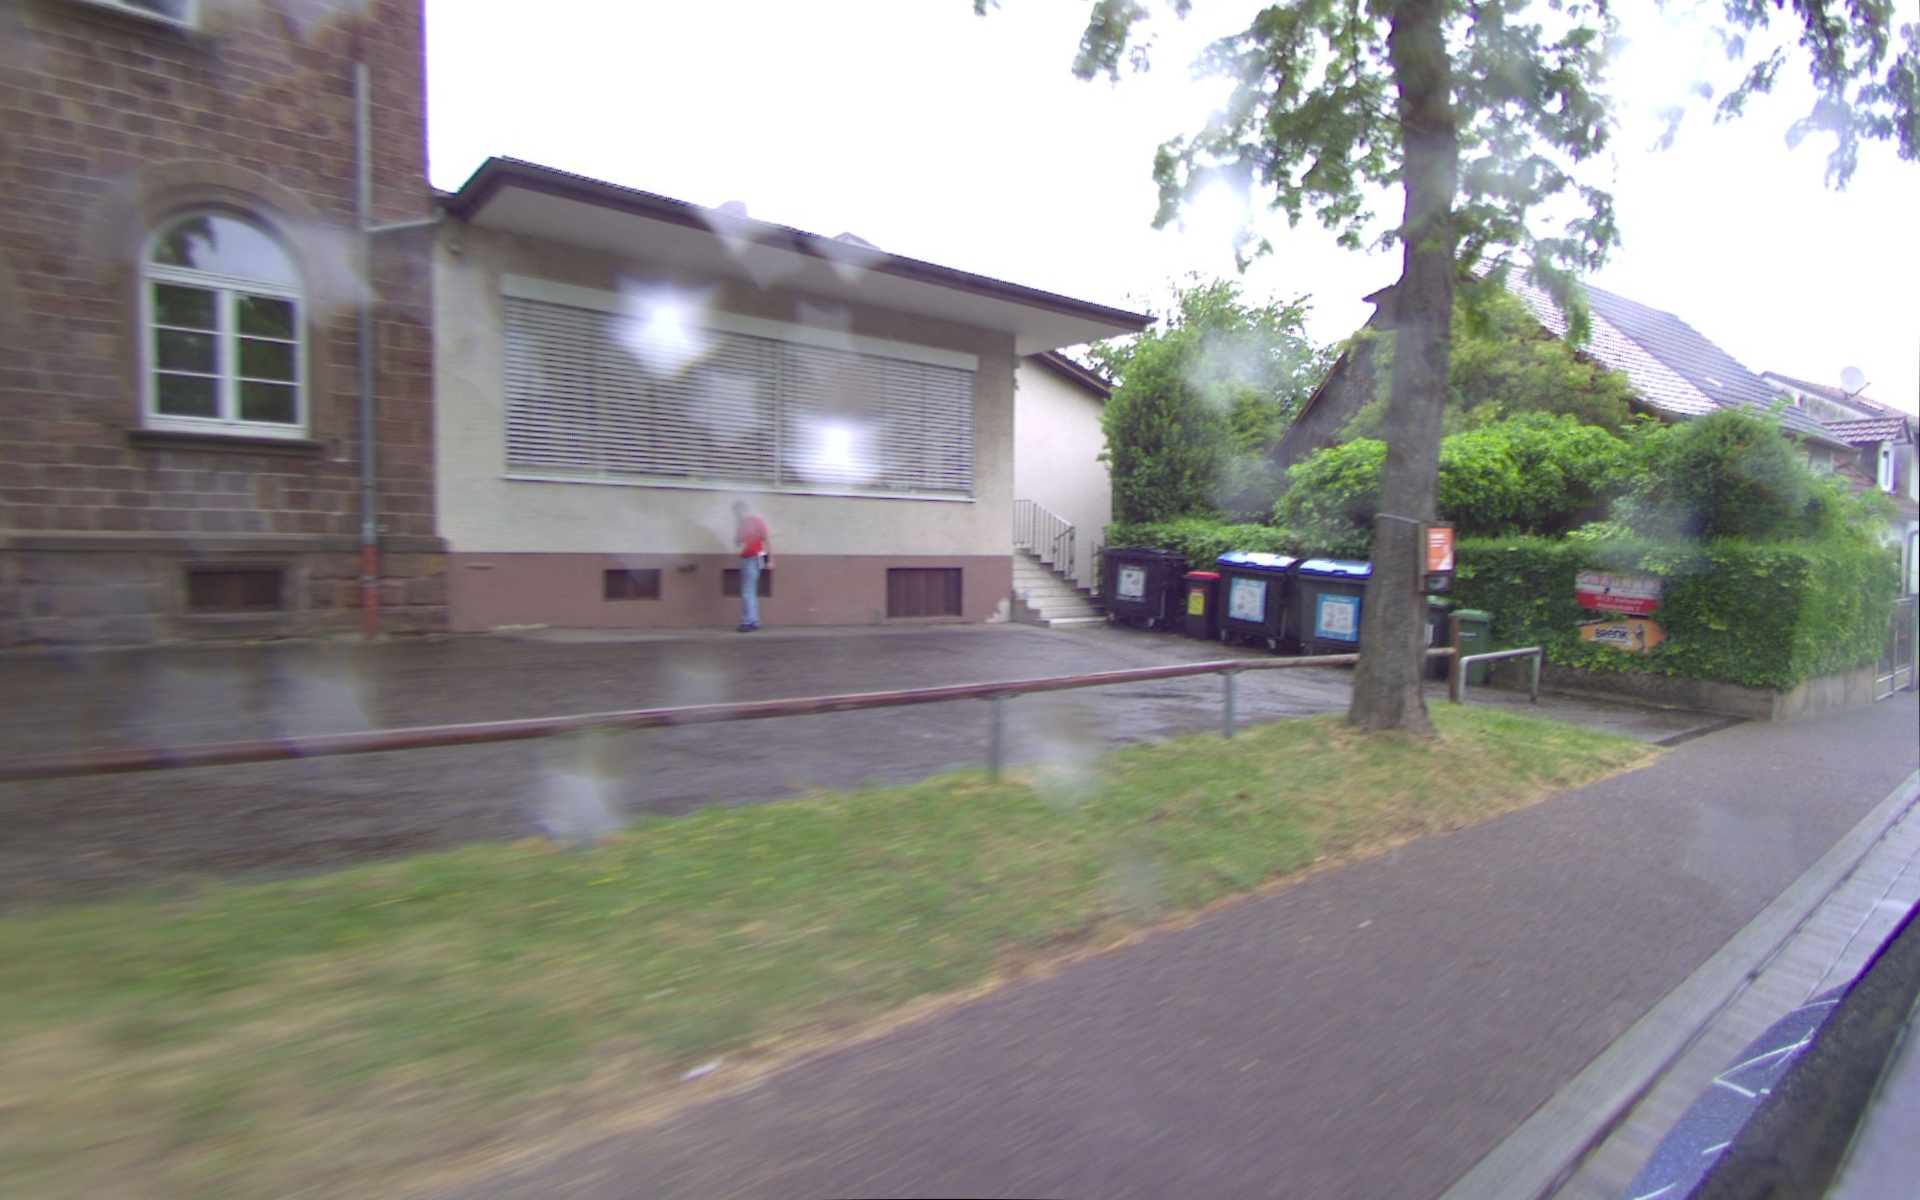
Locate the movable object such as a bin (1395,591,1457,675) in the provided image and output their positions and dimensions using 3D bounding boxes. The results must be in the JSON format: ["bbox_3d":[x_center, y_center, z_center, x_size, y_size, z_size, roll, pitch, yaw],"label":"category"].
[{"bbox_3d":[6.141,0.420,13.344,0.455,1.035,0.538,0,5,-42],"label":"movable object such as a bin"}]

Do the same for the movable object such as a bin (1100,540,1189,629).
[{"bbox_3d":[3.076,-0.274,16.905,0.782,1.358,1.152,0,6,-41],"label":"movable object such as a bin"}]

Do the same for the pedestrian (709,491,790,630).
[{"bbox_3d":[-2.791,-0.511,13.427,0.851,1.776,0.536,1,2,-40],"label":"pedestrian"}]

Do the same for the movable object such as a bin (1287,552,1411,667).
[{"bbox_3d":[5.380,0.097,14.025,0.782,1.435,1.296,0,6,-42],"label":"movable object such as a bin"}]

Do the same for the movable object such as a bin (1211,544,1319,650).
[{"bbox_3d":[4.580,-0.071,15.239,0.782,1.452,1.238,0,6,-42],"label":"movable object such as a bin"}]

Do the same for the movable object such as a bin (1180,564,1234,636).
[{"bbox_3d":[3.931,-0.005,16.116,0.521,1.092,0.568,0,5,-42],"label":"movable object such as a bin"}]
